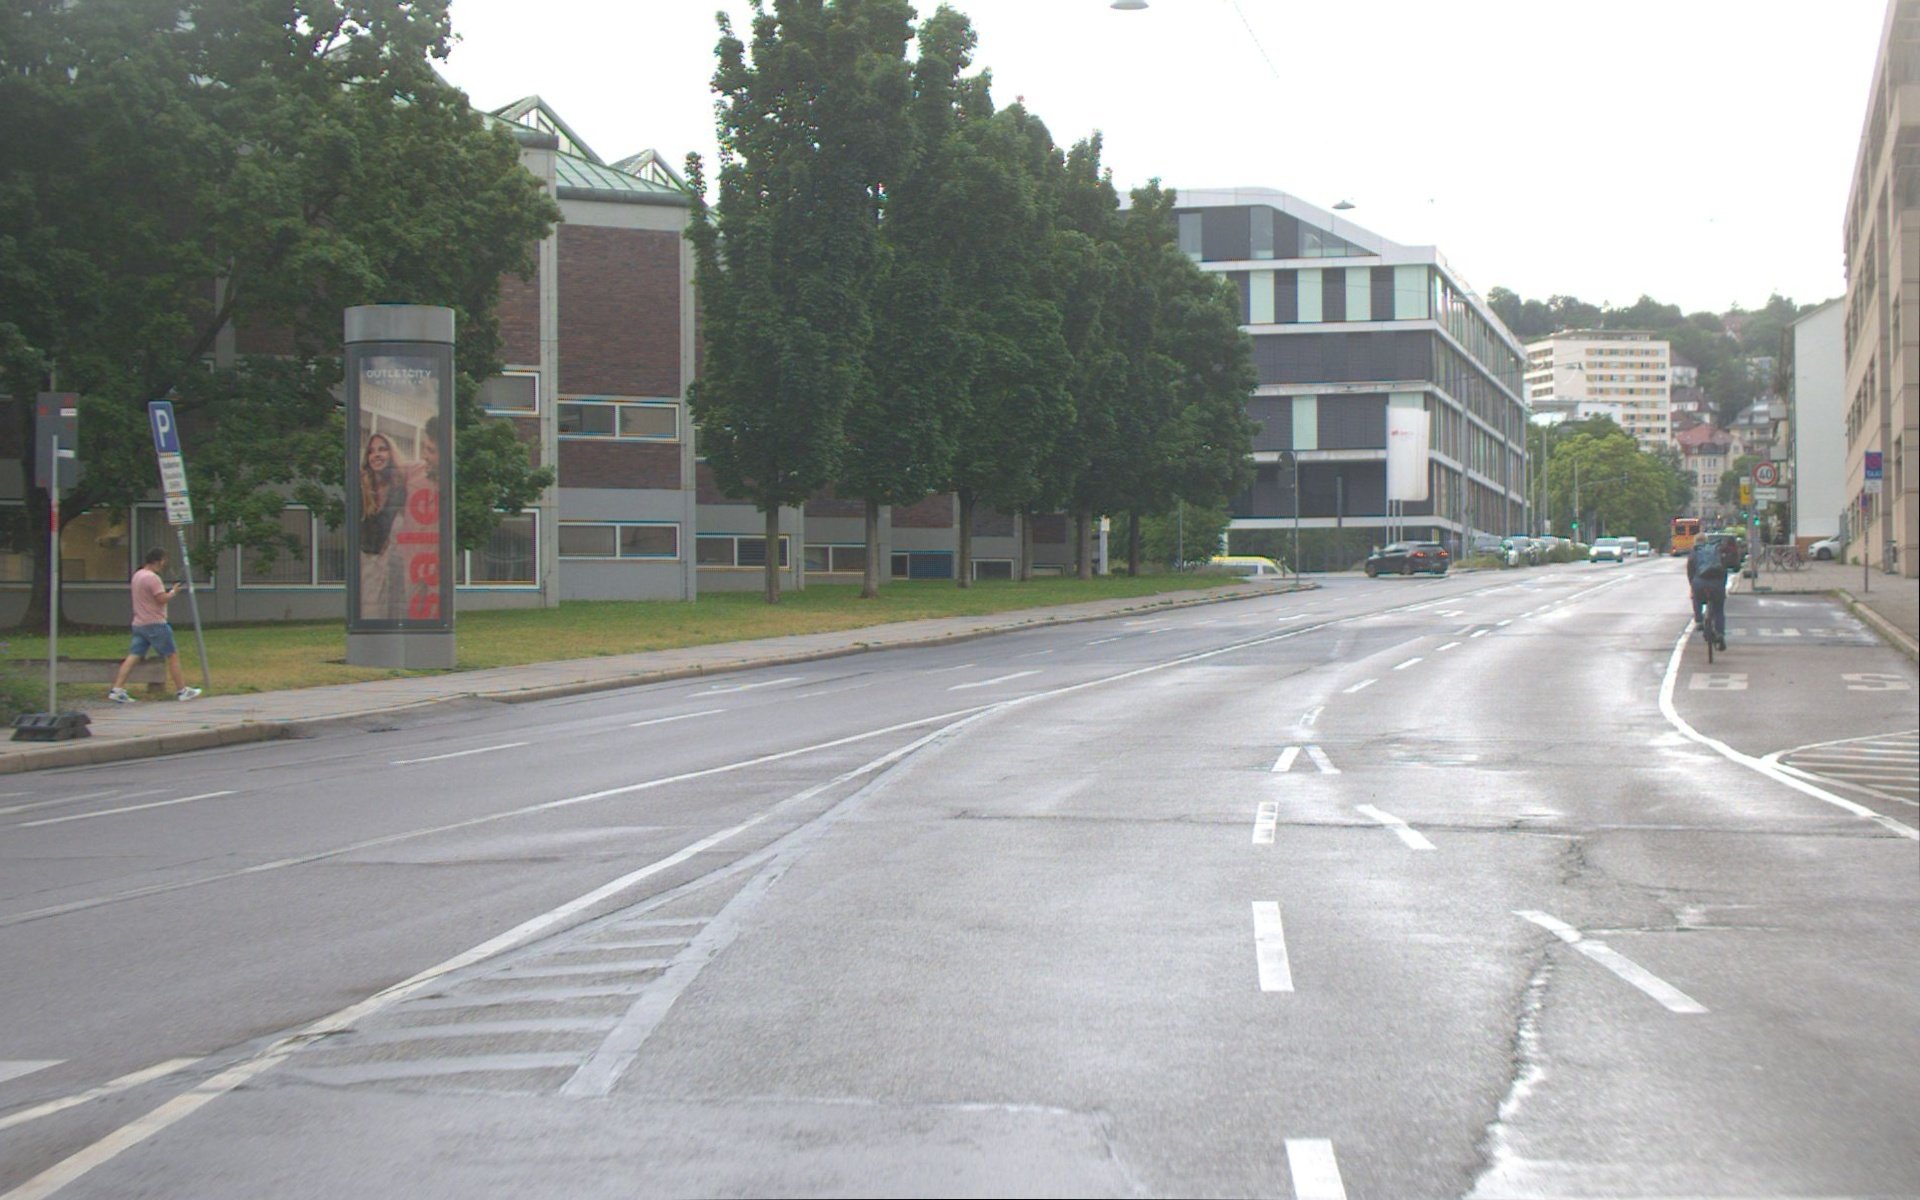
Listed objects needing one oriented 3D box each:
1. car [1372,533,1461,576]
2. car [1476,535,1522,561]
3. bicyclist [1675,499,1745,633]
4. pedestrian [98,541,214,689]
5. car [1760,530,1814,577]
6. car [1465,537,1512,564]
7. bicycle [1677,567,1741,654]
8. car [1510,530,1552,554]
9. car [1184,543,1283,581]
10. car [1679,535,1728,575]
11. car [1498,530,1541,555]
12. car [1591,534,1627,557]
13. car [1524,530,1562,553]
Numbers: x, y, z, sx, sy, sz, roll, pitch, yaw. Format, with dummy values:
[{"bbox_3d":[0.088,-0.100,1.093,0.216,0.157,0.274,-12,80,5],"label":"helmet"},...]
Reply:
[{"bbox_3d":[18.602,-1.874,140.148,1.892,1.619,3.647,-1,3,-25],"label":"car"},{"bbox_3d":[27.388,-2.656,174.679,1.840,1.231,3.413,1,3,17],"label":"car"},{"bbox_3d":[9.307,-0.431,42.625,0.700,1.627,1.127,1,1,19],"label":"bicyclist"},{"bbox_3d":[-8.677,0.149,37.115,0.806,1.565,0.956,1,1,23],"label":"pedestrian"},{"bbox_3d":[29.814,-1.702,123.898,1.840,1.554,3.998,1,3,14],"label":"car"},{"bbox_3d":[26.219,-2.445,170.489,1.840,1.231,3.413,1,3,17],"label":"car"},{"bbox_3d":[9.282,0.117,42.595,0.646,1.053,1.820,0,0,16],"label":"bicycle"},{"bbox_3d":[31.709,-3.224,190.839,1.840,1.231,3.413,1,3,17],"label":"car"},{"bbox_3d":[15.177,-2.115,190.775,5.230,2.007,1.999,1,1,13],"label":"car"},{"bbox_3d":[31.385,-1.926,145.067,1.840,1.554,3.998,1,3,14],"label":"car"},{"bbox_3d":[30.005,-3.088,184.432,1.840,1.231,3.413,1,3,17],"label":"car"},{"bbox_3d":[40.524,-3.426,214.683,1.840,1.349,3.413,1,3,17],"label":"car"},{"bbox_3d":[34.298,-3.470,202.200,1.840,1.231,3.413,1,3,17],"label":"car"}]
